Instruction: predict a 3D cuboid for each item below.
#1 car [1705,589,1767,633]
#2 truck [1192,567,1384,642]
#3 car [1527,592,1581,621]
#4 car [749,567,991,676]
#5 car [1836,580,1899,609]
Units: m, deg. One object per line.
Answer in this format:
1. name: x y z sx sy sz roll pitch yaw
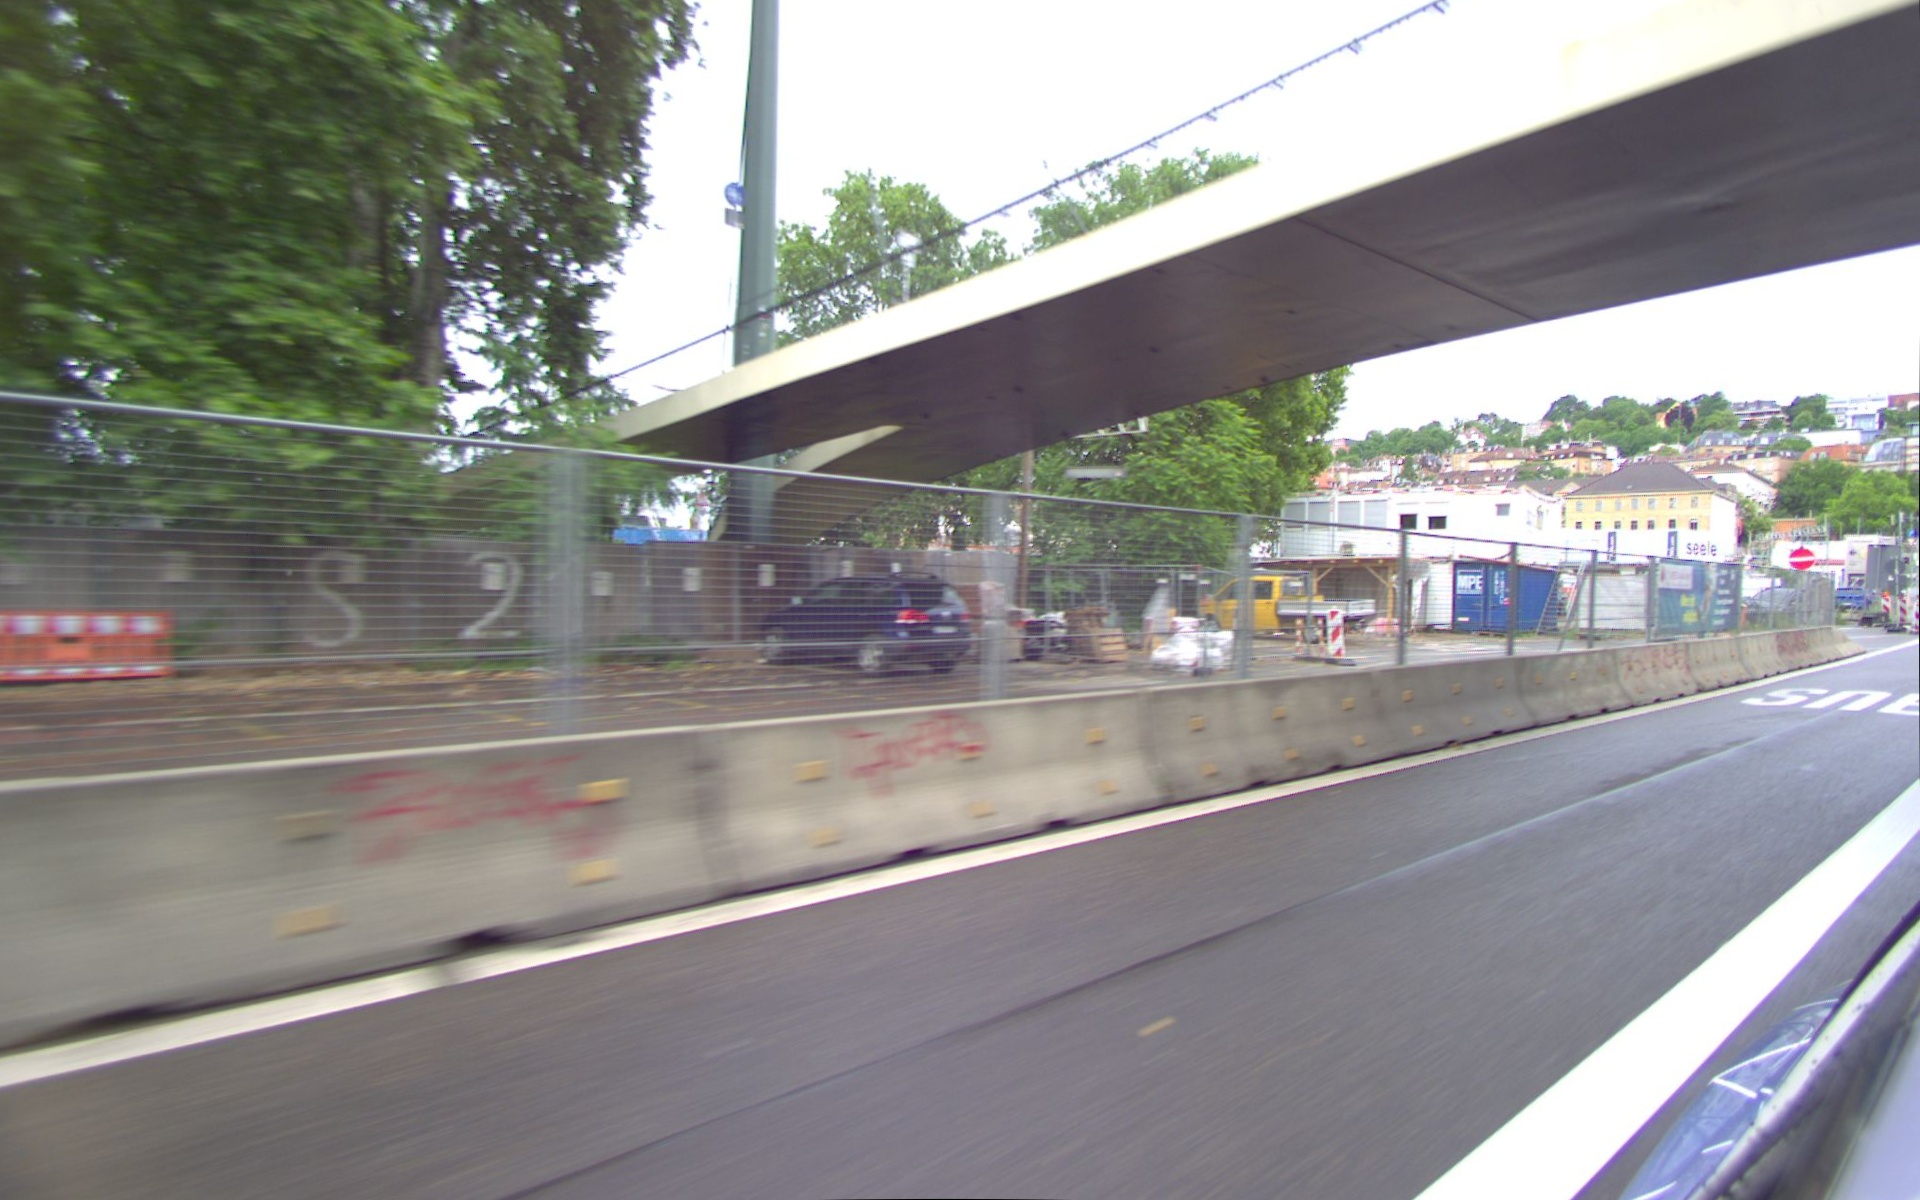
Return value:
1. car: 34.202 0.442 44.563 1.850 1.501 3.943 4 7 41
2. truck: 10.067 0.046 31.301 5.152 2.038 2.373 2 3 43
3. car: 30.438 0.319 51.816 1.710 1.322 3.941 1 2 41
4. car: -1.745 0.292 18.537 4.500 1.750 1.968 2 1 44
5. car: 49.845 -0.322 55.553 4.333 1.459 1.837 -2 1 -38
